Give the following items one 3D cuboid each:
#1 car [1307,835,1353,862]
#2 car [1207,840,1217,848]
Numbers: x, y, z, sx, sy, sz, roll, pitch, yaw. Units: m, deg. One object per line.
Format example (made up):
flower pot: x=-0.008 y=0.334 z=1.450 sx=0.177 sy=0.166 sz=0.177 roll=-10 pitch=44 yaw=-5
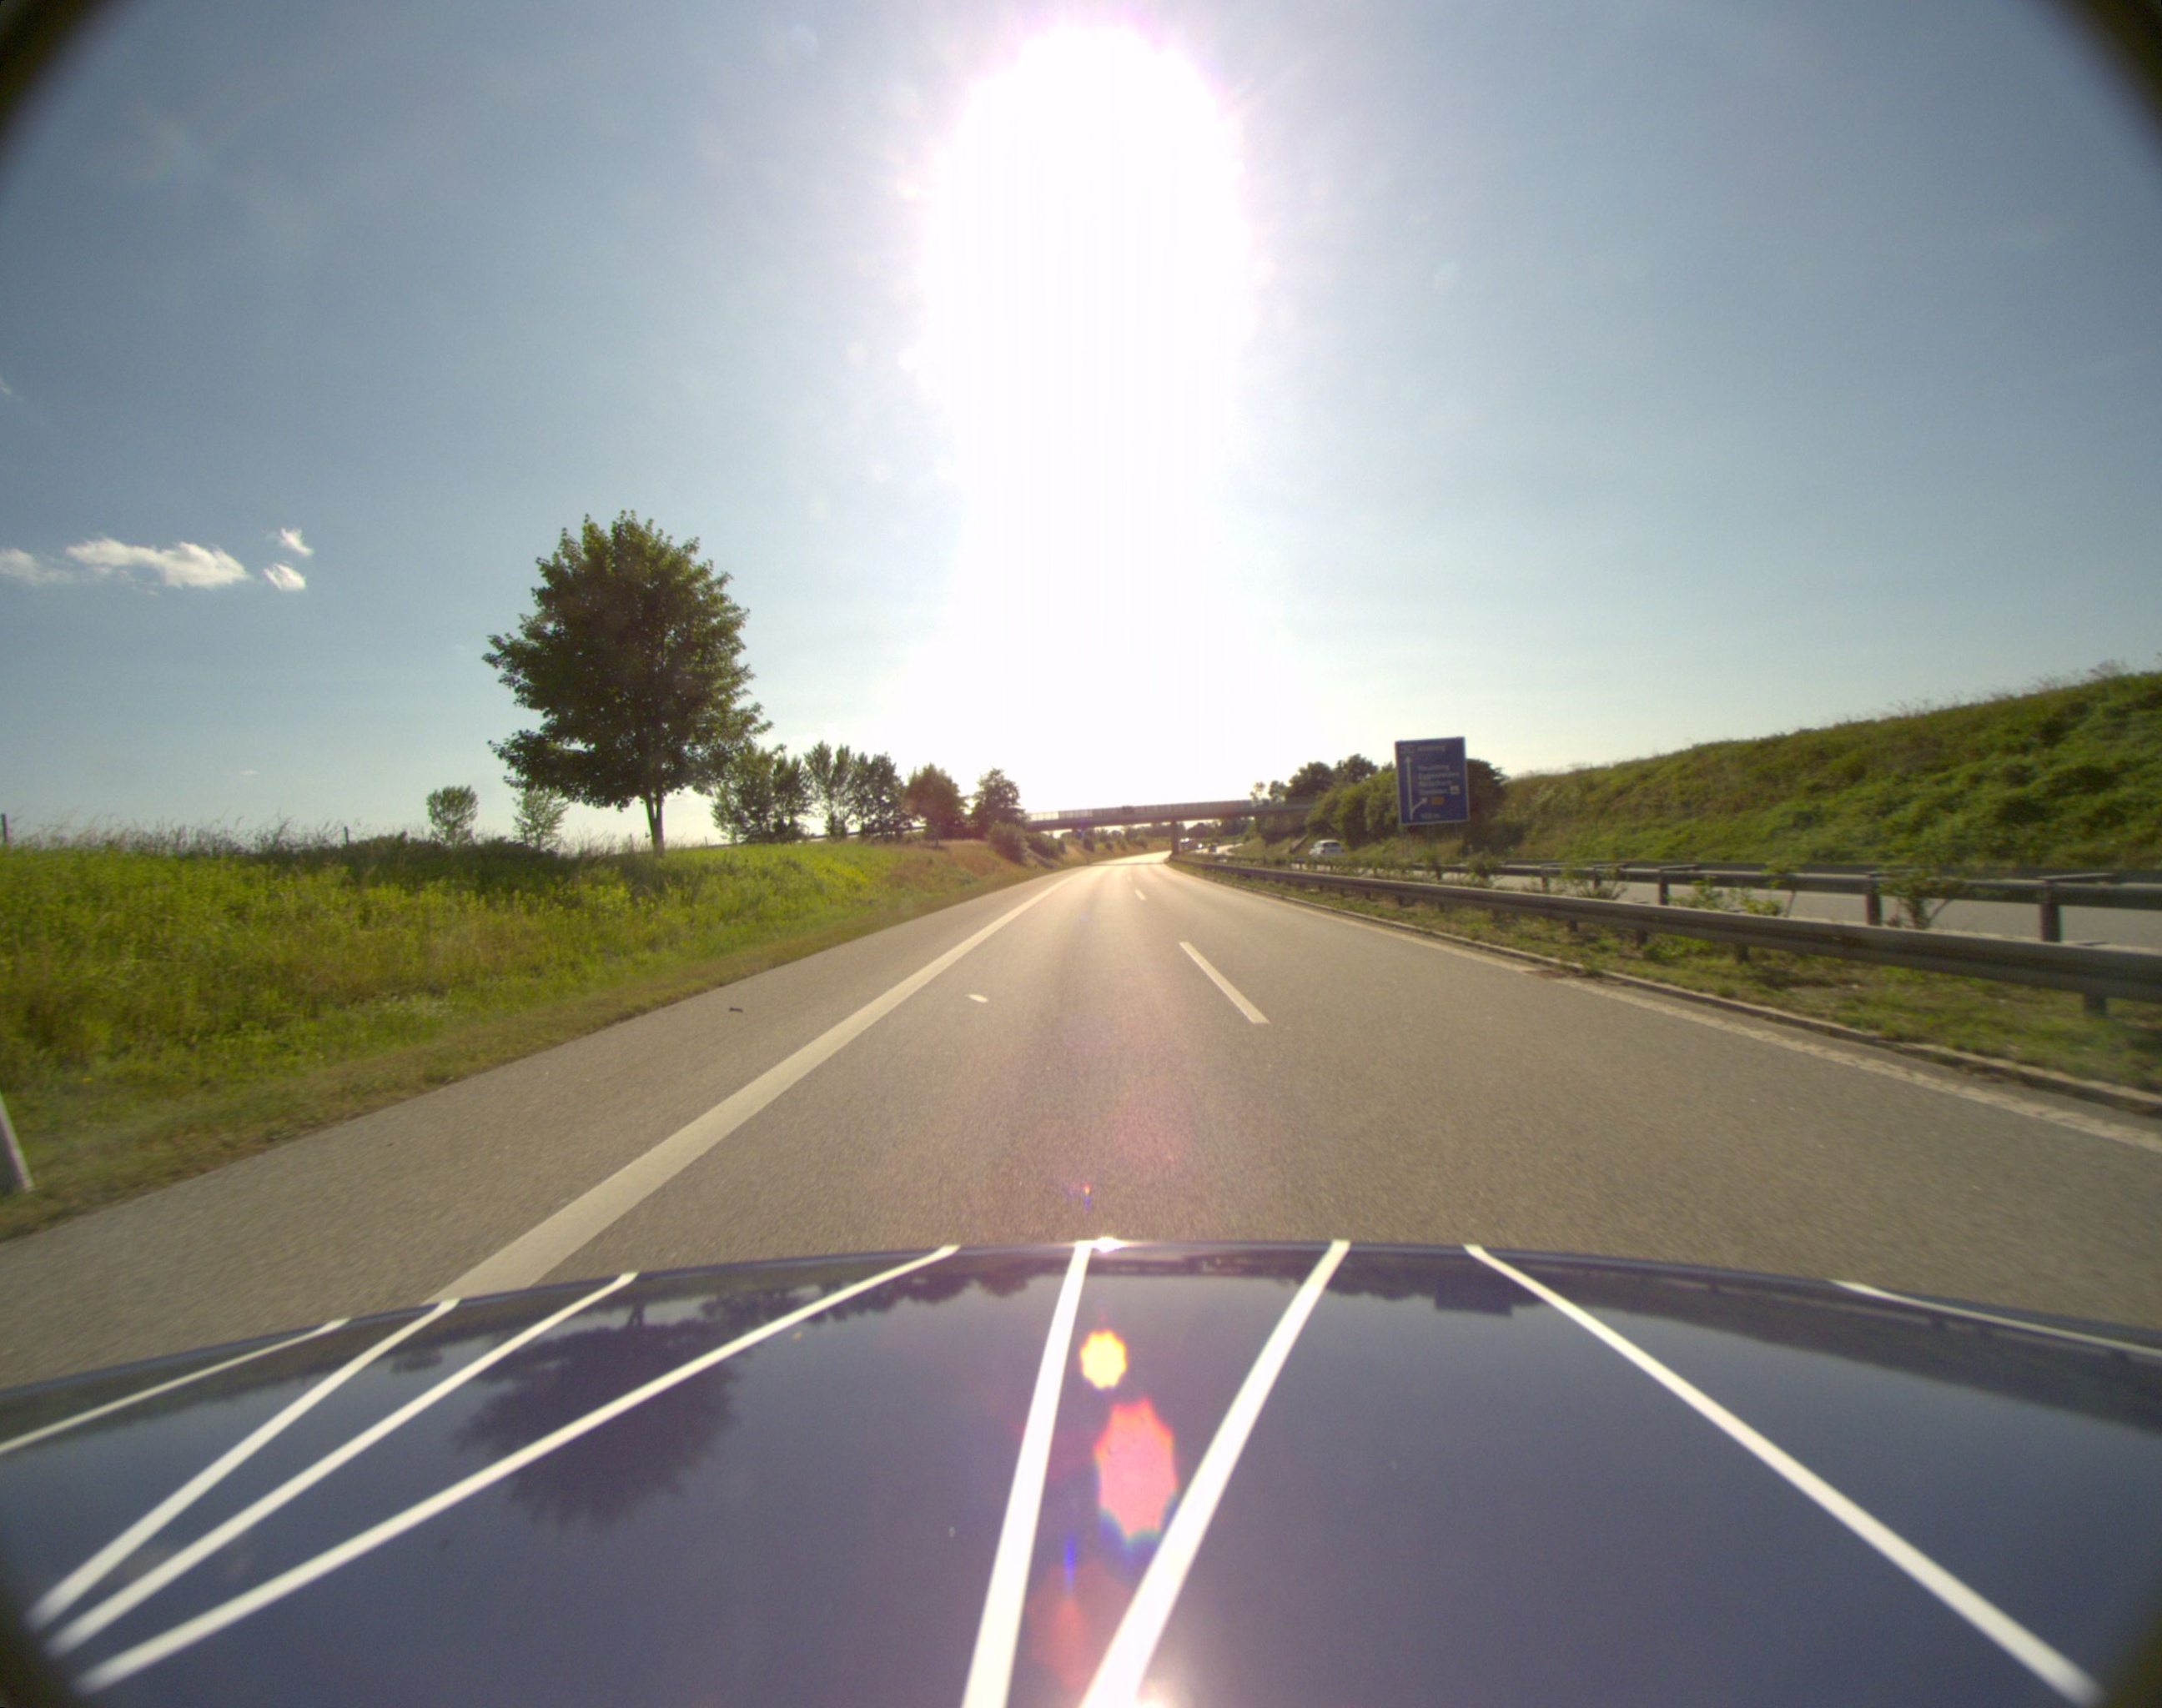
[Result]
car: x=16.226 y=-0.379 z=49.732 sx=1.861 sy=1.589 sz=4.000 roll=-2 pitch=1 yaw=3
car: x=29.648 y=-2.237 z=172.273 sx=1.860 sy=1.846 sz=4.624 roll=-2 pitch=1 yaw=5
